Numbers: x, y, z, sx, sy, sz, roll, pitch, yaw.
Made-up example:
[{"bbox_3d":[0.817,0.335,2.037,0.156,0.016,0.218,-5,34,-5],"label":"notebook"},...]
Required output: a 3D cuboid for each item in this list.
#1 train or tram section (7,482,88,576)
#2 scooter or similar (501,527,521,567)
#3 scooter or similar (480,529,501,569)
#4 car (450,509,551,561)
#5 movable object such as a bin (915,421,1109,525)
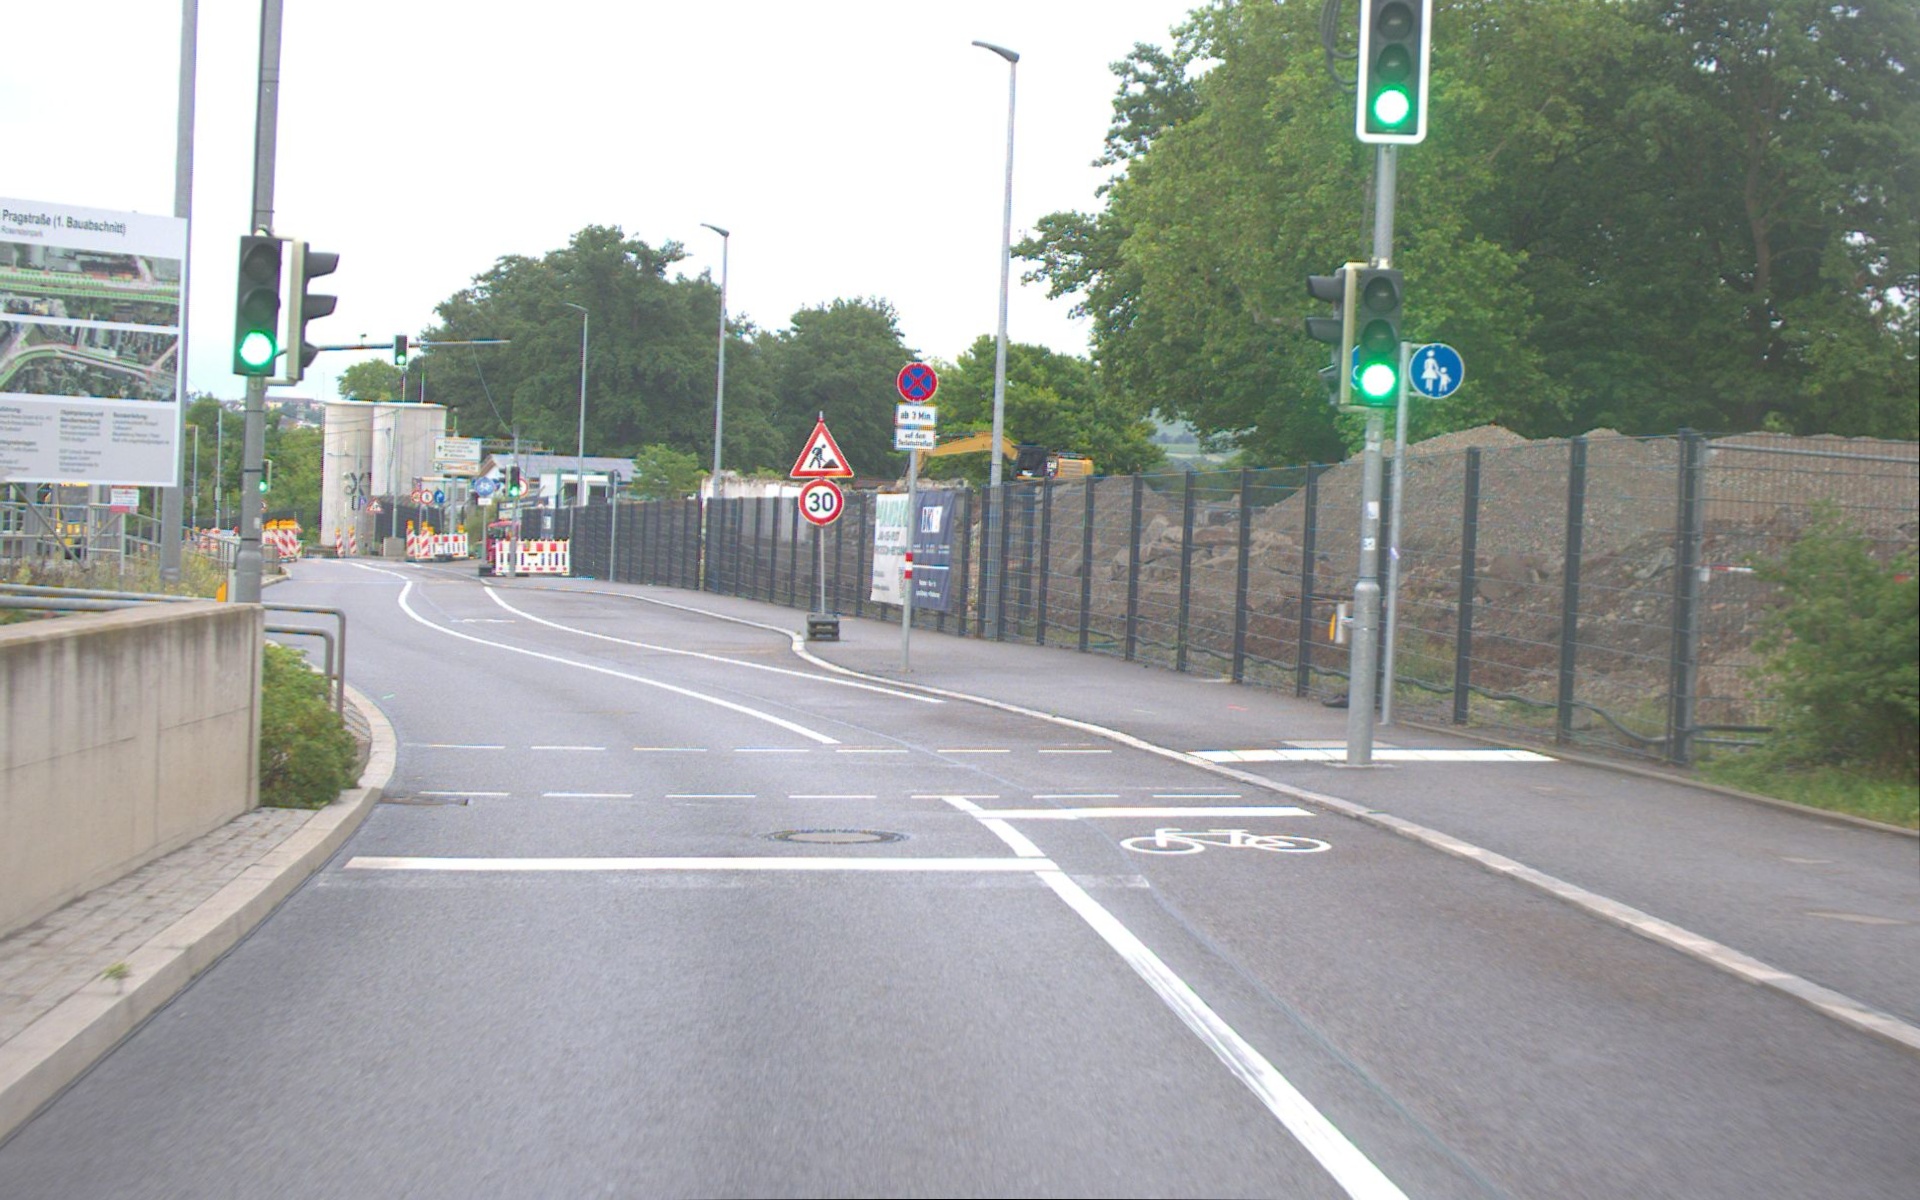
[{"bbox_3d":[-40.888,-3.215,154.517,2.954,3.872,19.579,2,1,-14],"label":"train or tram section"},{"bbox_3d":[-15.342,-1.809,117.561,0.615,1.347,1.912,1,1,-6],"label":"scooter or similar"},{"bbox_3d":[-16.042,-1.747,117.429,0.615,1.347,1.912,1,1,-6],"label":"scooter or similar"},{"bbox_3d":[-16.514,-2.328,123.650,1.821,1.787,4.405,2,1,19],"label":"car"},{"bbox_3d":[3.086,-7.561,205.418,11.229,5.975,3.492,1,1,-4],"label":"movable object such as a bin"}]
